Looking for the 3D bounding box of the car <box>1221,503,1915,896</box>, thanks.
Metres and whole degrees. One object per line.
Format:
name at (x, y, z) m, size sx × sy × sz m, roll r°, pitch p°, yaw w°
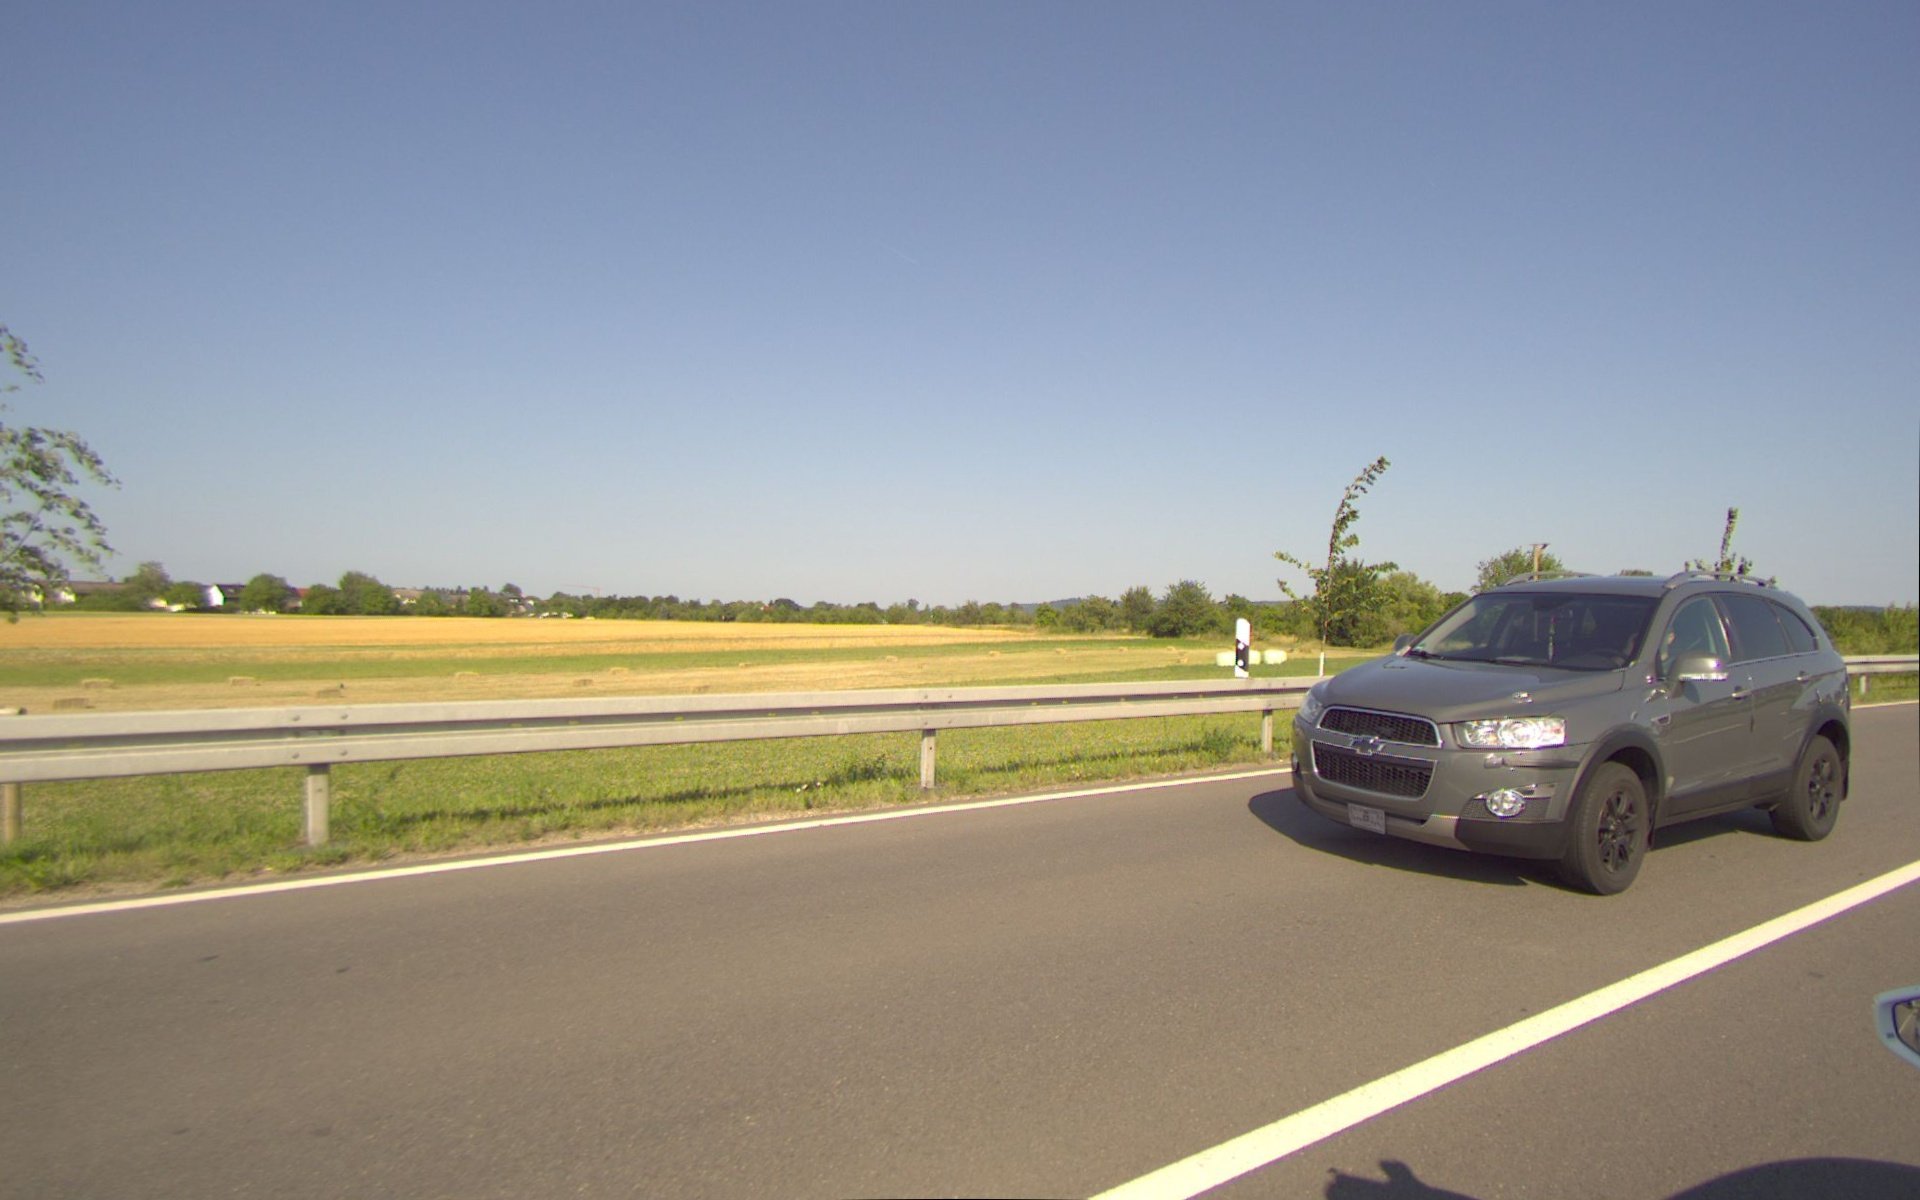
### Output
car at (4.290, 0.576, 6.785) m, size 5.036 × 1.821 × 1.872 m, roll 4°, pitch 0°, yaw -32°
